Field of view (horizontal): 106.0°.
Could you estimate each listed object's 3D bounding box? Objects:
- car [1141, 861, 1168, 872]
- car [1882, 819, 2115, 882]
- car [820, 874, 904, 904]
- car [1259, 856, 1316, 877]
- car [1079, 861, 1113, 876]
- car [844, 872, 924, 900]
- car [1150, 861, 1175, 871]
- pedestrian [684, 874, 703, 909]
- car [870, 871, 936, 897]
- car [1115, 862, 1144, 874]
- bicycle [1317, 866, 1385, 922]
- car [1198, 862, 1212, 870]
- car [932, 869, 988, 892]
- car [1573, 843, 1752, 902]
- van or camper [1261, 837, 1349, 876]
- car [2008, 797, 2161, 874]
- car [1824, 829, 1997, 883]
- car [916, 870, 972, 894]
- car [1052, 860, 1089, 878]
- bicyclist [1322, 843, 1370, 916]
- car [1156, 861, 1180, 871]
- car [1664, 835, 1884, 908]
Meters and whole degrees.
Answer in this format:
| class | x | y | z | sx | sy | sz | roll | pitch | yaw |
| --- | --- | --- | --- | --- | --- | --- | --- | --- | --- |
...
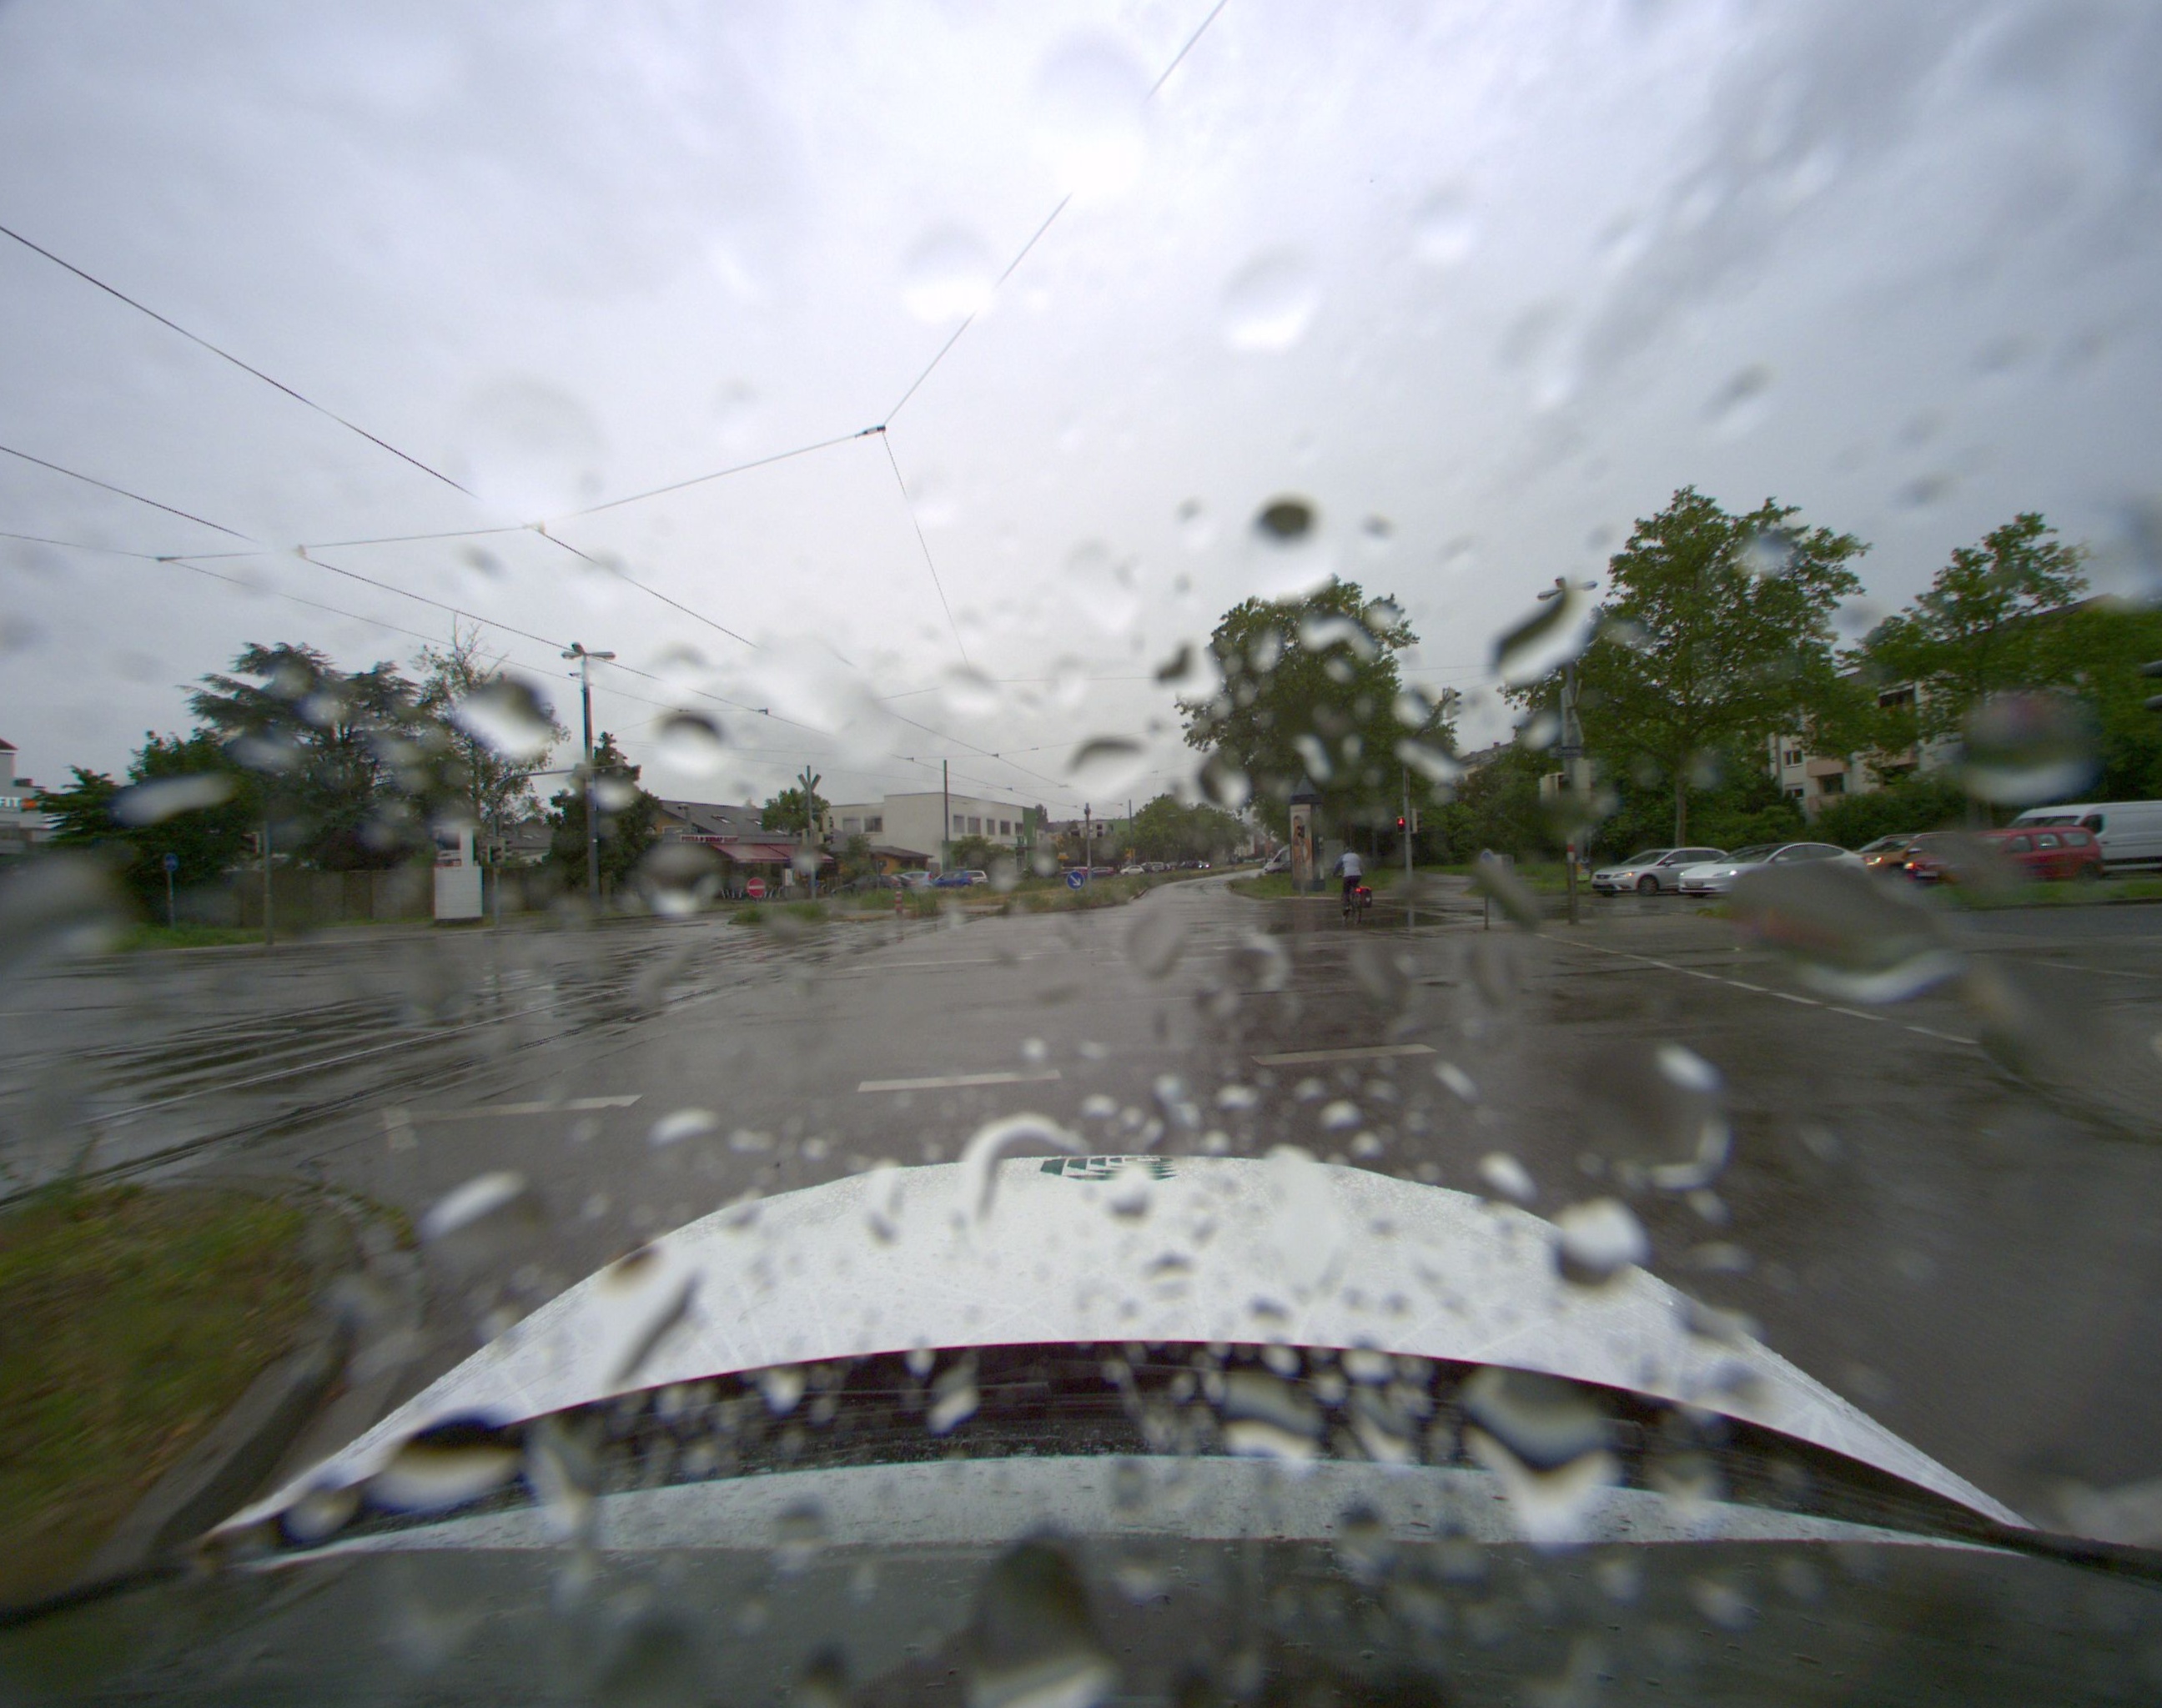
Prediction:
| class | x | y | z | sx | sy | sz | roll | pitch | yaw |
| --- | --- | --- | --- | --- | --- | --- | --- | --- | --- |
| car | 12.205 | 2.044 | 135.399 | 3.991 | 1.759 | 2.001 | -1 | -1 | -13 |
| car | 25.014 | -0.079 | 22.290 | 4.594 | 1.607 | 1.788 | -1 | -1 | -4 |
| car | -13.082 | 2.082 | 48.864 | 4.464 | 1.418 | 1.858 | -4 | -1 | -1 |
| car | 17.386 | 1.053 | 68.483 | 4.407 | 1.717 | 2.010 | -1 | -1 | 19 |
| car | 1.869 | 1.785 | 100.488 | 3.984 | 1.888 | 1.994 | -1 | -1 | -8 |
| car | -12.370 | 2.005 | 51.292 | 4.483 | 1.418 | 1.858 | -3 | -1 | -1 |
| car | 14.515 | 2.127 | 144.524 | 3.991 | 1.832 | 1.991 | -1 | -1 | -13 |
| pedestrian | -20.491 | 1.990 | 43.056 | 0.730 | 1.797 | 0.876 | 0 | -1 | -39 |
| car | -11.922 | 2.001 | 54.692 | 3.970 | 1.582 | 1.860 | -2 | -1 | 3 |
| car | 6.966 | 2.016 | 117.287 | 3.776 | 1.702 | 1.830 | -1 | -1 | -11 |
| bicycle | 5.710 | 0.835 | 17.317 | 0.689 | 1.117 | 1.882 | -1 | -2 | -4 |
| car | 25.377 | 2.450 | 166.700 | 1.874 | 1.662 | 4.021 | -1 | -1 | 22 |
| car | -9.357 | 2.026 | 62.948 | 4.116 | 1.641 | 1.920 | -2 | -1 | -16 |
| car | 17.995 | 0.565 | 25.316 | 4.390 | 1.691 | 1.929 | -1 | -1 | -8 |
| van or camper | 19.654 | 0.244 | 71.440 | 7.265 | 3.178 | 3.276 | -1 | -1 | 16 |
| car | 34.152 | -0.578 | 26.699 | 5.594 | 2.392 | 1.997 | -1 | -1 | -5 |
| car | 26.349 | 0.056 | 25.936 | 4.052 | 1.607 | 1.786 | -1 | -1 | -8 |
| car | -10.065 | 2.009 | 59.777 | 3.991 | 1.582 | 1.921 | -2 | -1 | -13 |
| car | -1.103 | 1.647 | 89.375 | 3.974 | 1.863 | 1.999 | -1 | -1 | -1 |
| bicyclist | 5.689 | 0.542 | 17.513 | 0.689 | 1.506 | 0.843 | -1 | -2 | -4 |
| car | 15.957 | 2.194 | 149.718 | 3.982 | 1.832 | 1.996 | -1 | -1 | -6 |
| car | 18.587 | 0.458 | 21.951 | 4.590 | 1.828 | 1.929 | -1 | -1 | -8 |
